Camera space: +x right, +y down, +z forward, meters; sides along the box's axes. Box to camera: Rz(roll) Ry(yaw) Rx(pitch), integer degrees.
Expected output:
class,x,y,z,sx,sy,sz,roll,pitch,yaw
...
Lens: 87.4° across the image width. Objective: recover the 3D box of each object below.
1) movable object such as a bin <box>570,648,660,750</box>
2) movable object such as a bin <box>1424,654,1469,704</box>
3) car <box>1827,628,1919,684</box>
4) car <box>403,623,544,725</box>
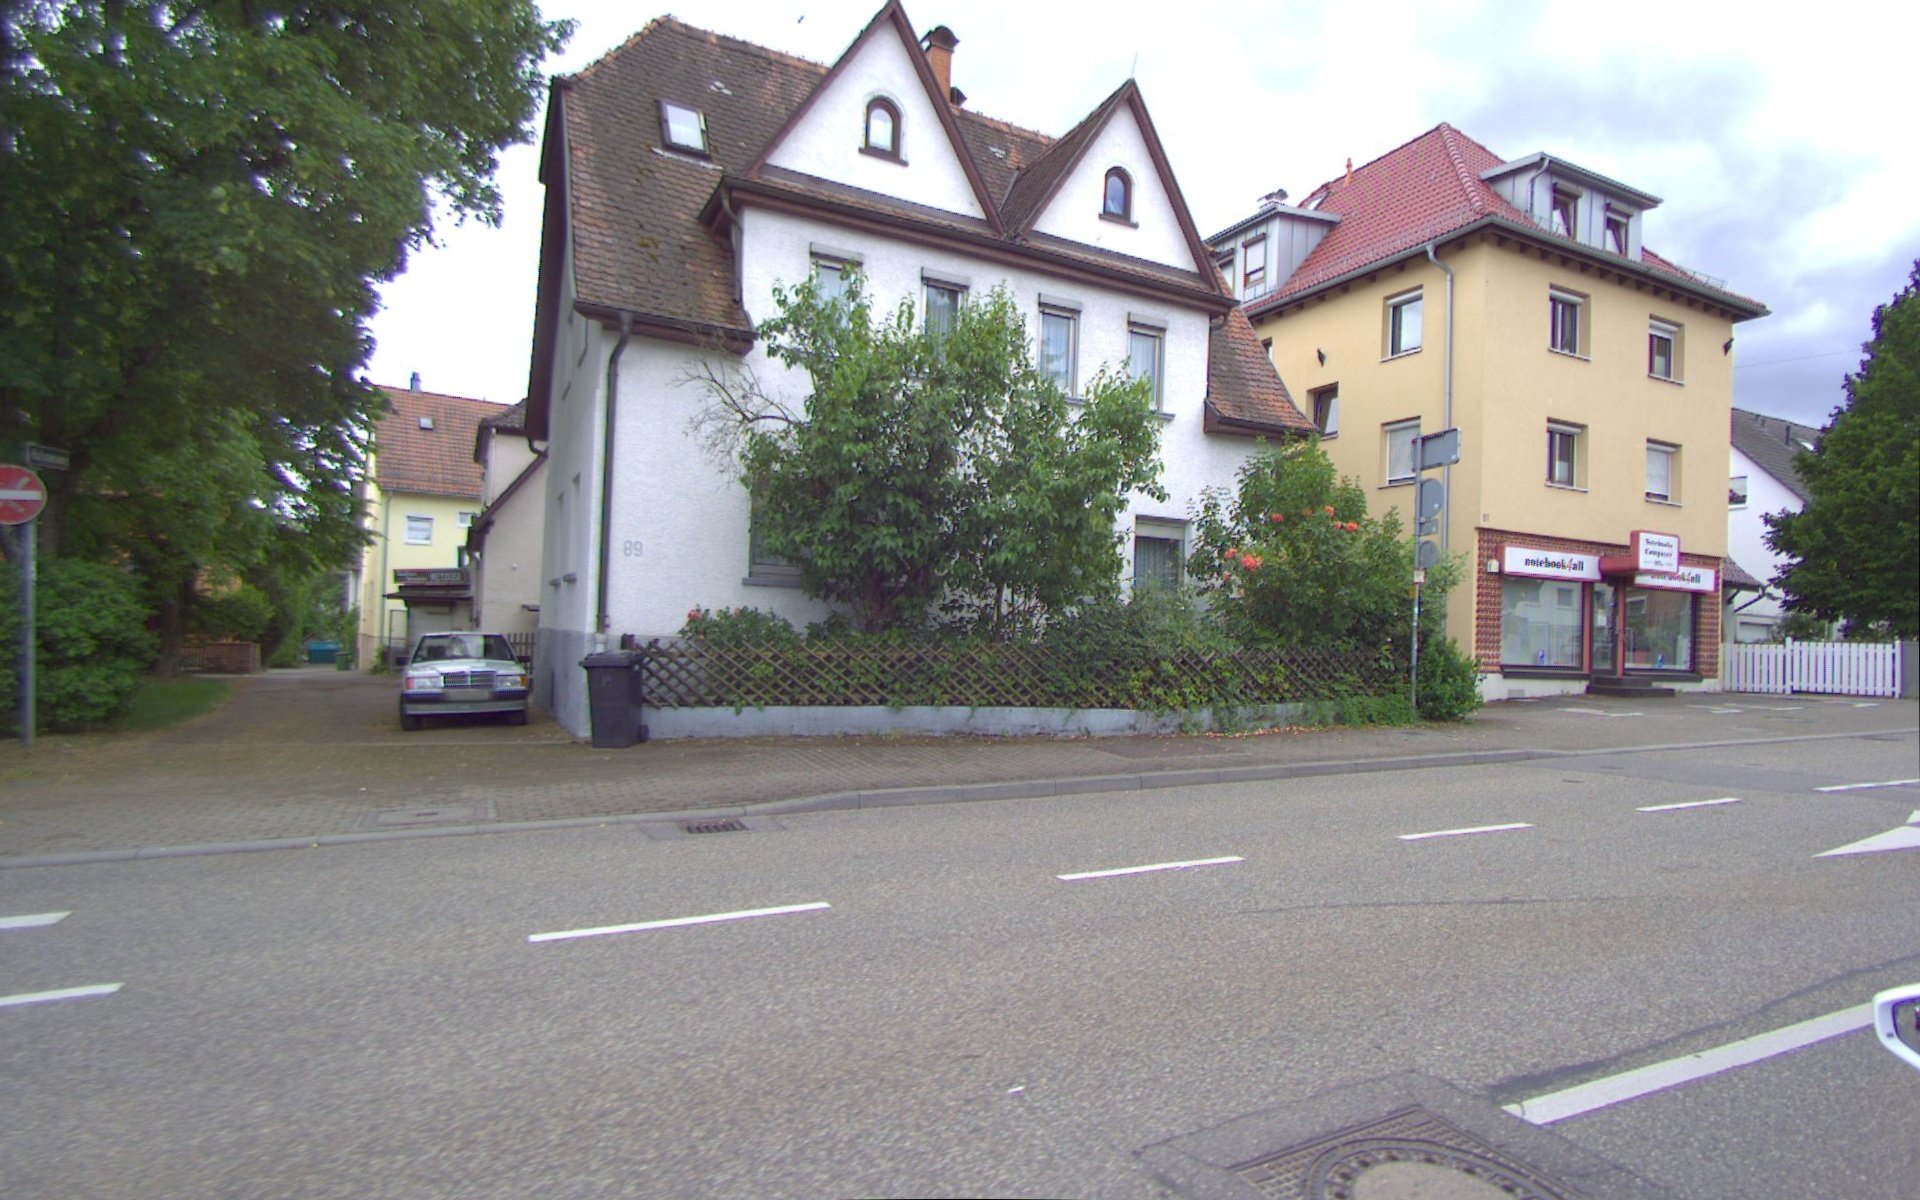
class,x,y,z,sx,sy,sz,roll,pitch,yaw
movable object such as a bin,-3.847,1.090,11.245,0.708,1.033,0.720,0,2,6
movable object such as a bin,9.691,1.573,20.000,0.598,0.961,0.552,4,-4,-23
car,28.043,1.654,30.034,4.564,1.584,1.798,1,-3,-30
car,-7.589,1.126,15.584,1.701,1.349,3.972,3,-4,-28
